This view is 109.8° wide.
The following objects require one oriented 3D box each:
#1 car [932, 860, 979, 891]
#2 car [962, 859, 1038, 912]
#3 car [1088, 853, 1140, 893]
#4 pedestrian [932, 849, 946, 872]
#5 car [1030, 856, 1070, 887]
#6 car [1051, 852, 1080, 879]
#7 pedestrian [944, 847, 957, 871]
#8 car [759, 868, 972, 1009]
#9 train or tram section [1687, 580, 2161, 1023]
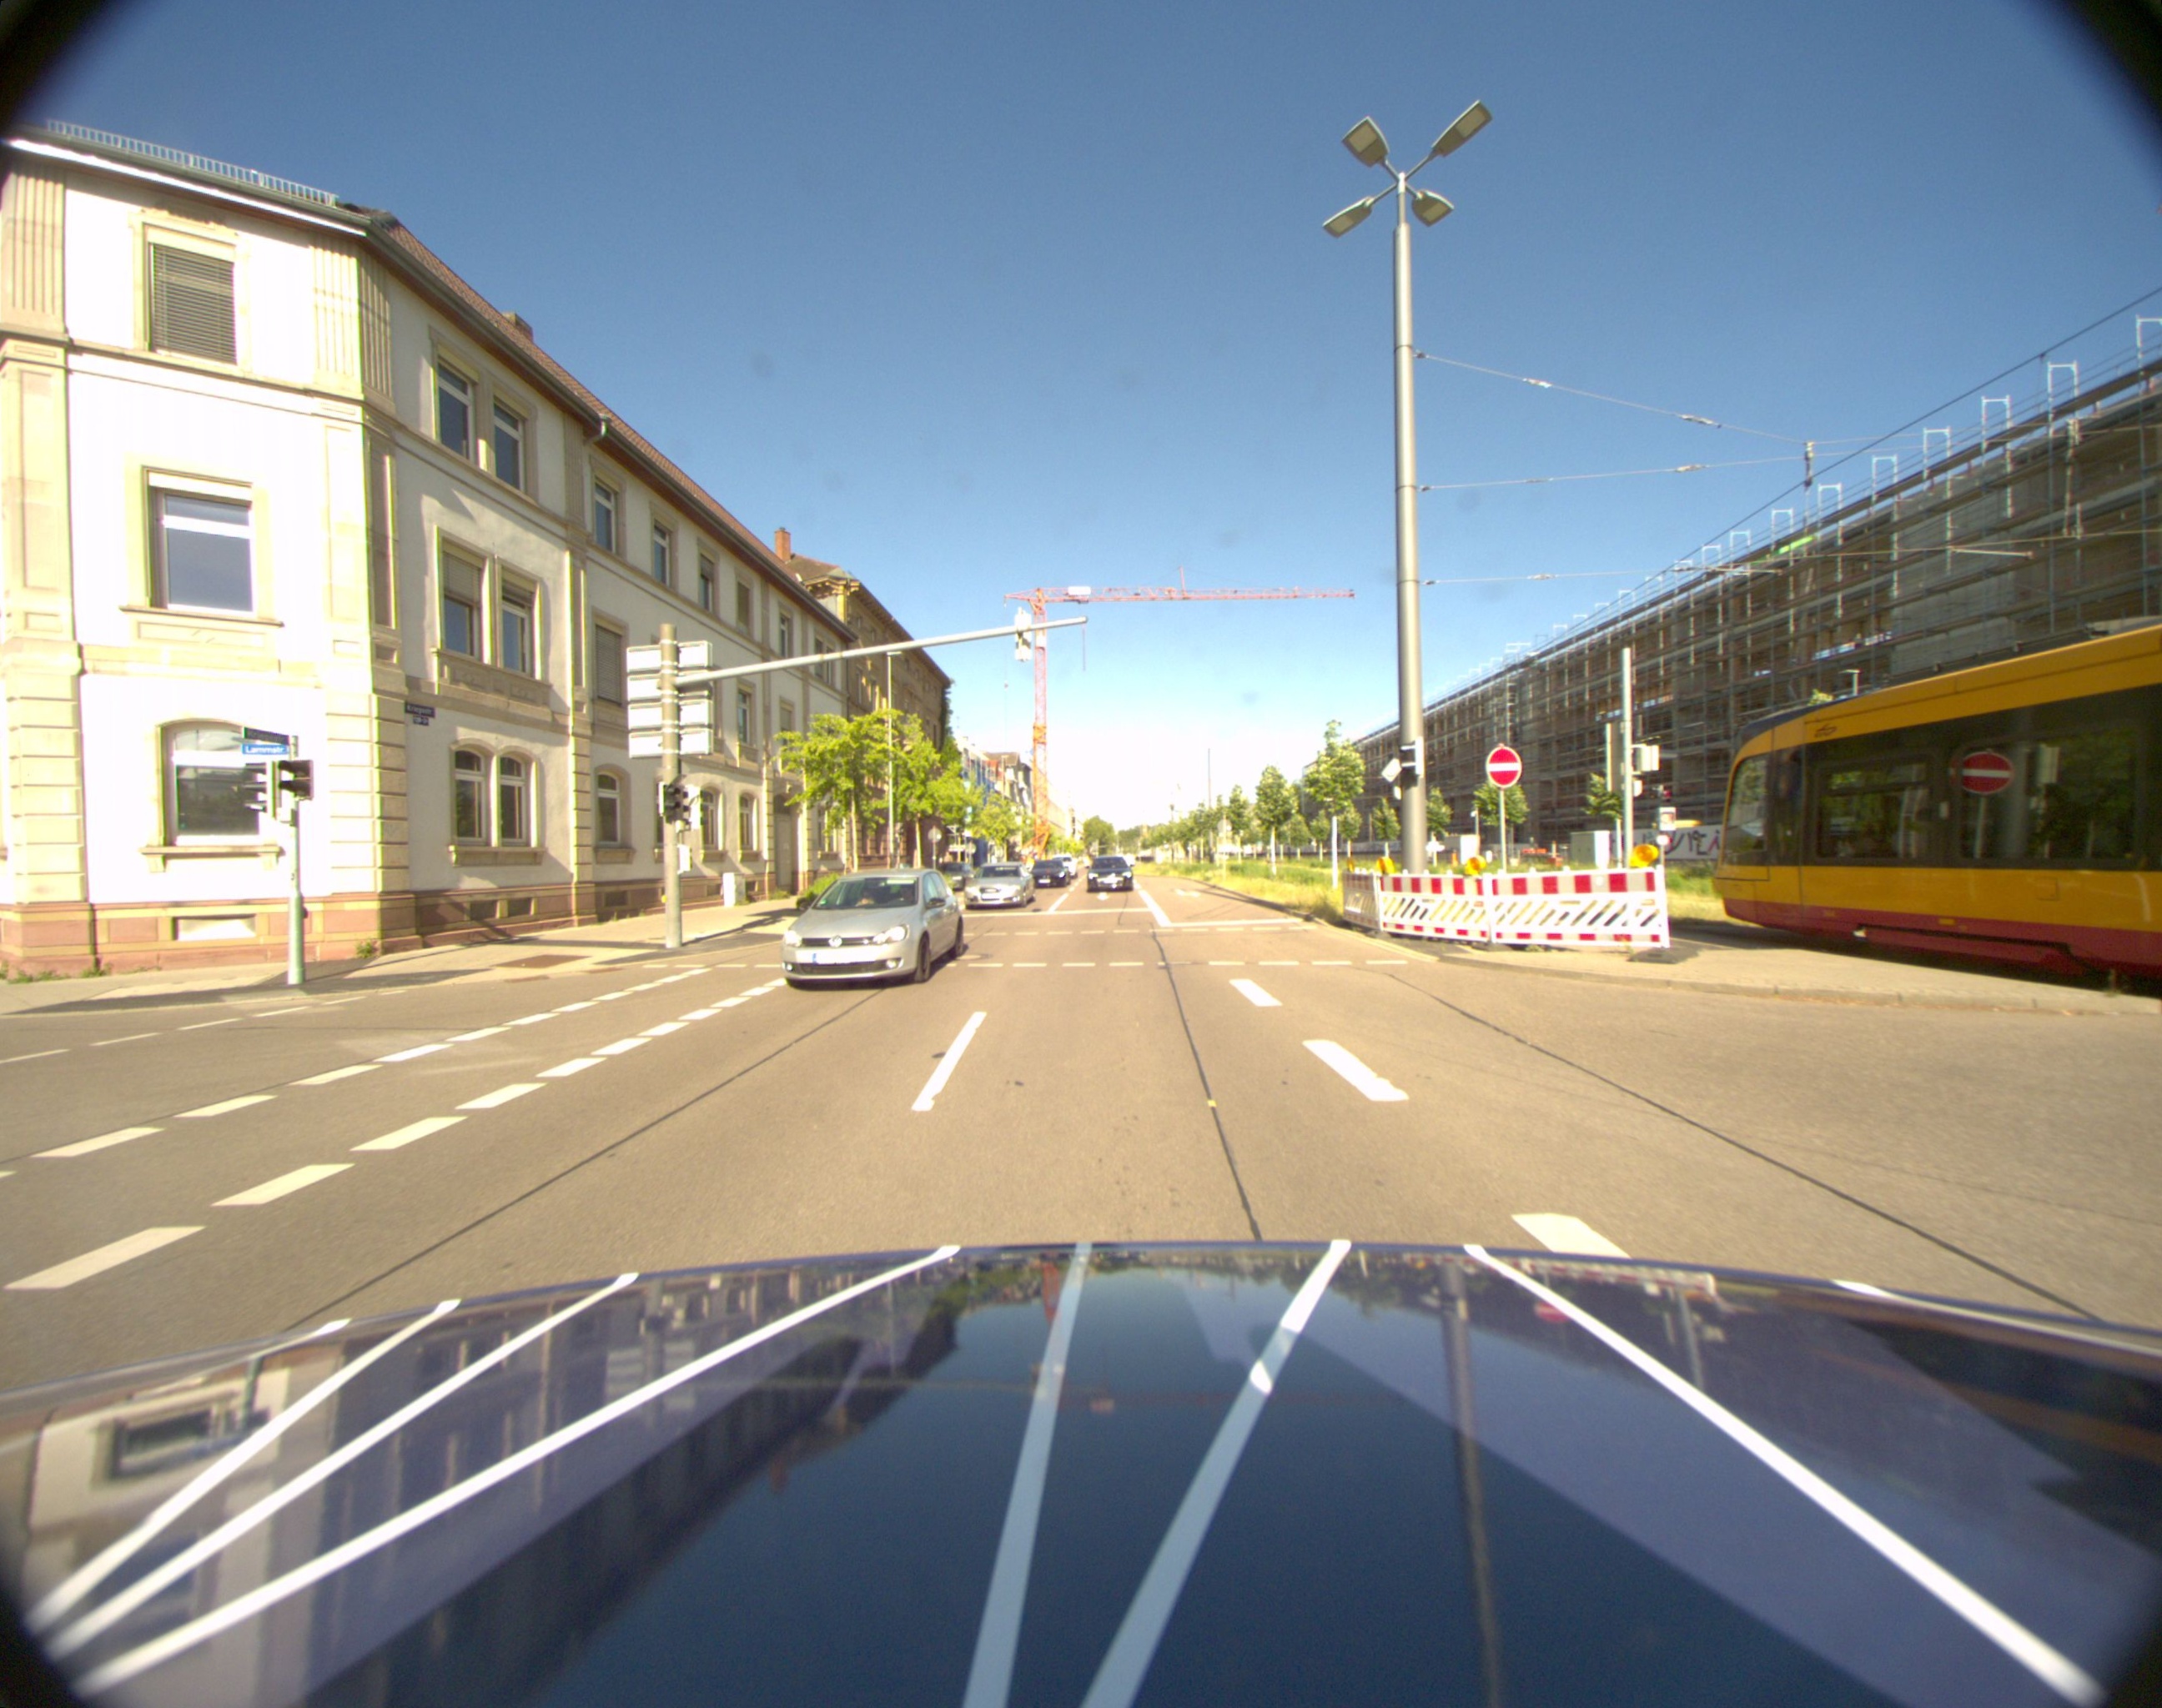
[{"bbox_3d":[-6.401,1.066,39.118,1.609,1.435,4.000,-1,1,2],"label":"car"},{"bbox_3d":[-2.497,0.949,24.336,1.839,1.415,4.000,-2,1,2],"label":"car"},{"bbox_3d":[1.317,0.752,32.054,1.999,1.493,3.999,-1,1,0],"label":"car"},{"bbox_3d":[-9.664,0.447,51.727,0.669,1.552,0.906,-2,1,0],"label":"pedestrian"},{"bbox_3d":[-1.521,0.844,38.695,1.703,1.415,4.000,-2,1,2],"label":"car"},{"bbox_3d":[-0.989,0.742,50.976,1.703,1.622,4.000,-2,1,2],"label":"car"},{"bbox_3d":[-8.877,0.334,51.828,0.669,1.552,0.906,-2,1,0],"label":"pedestrian"},{"bbox_3d":[-2.784,1.016,10.791,1.703,1.466,4.000,-2,1,2],"label":"car"},{"bbox_3d":[9.746,-0.434,4.722,1.998,3.648,14.156,-2,1,6],"label":"train or tram section"}]
